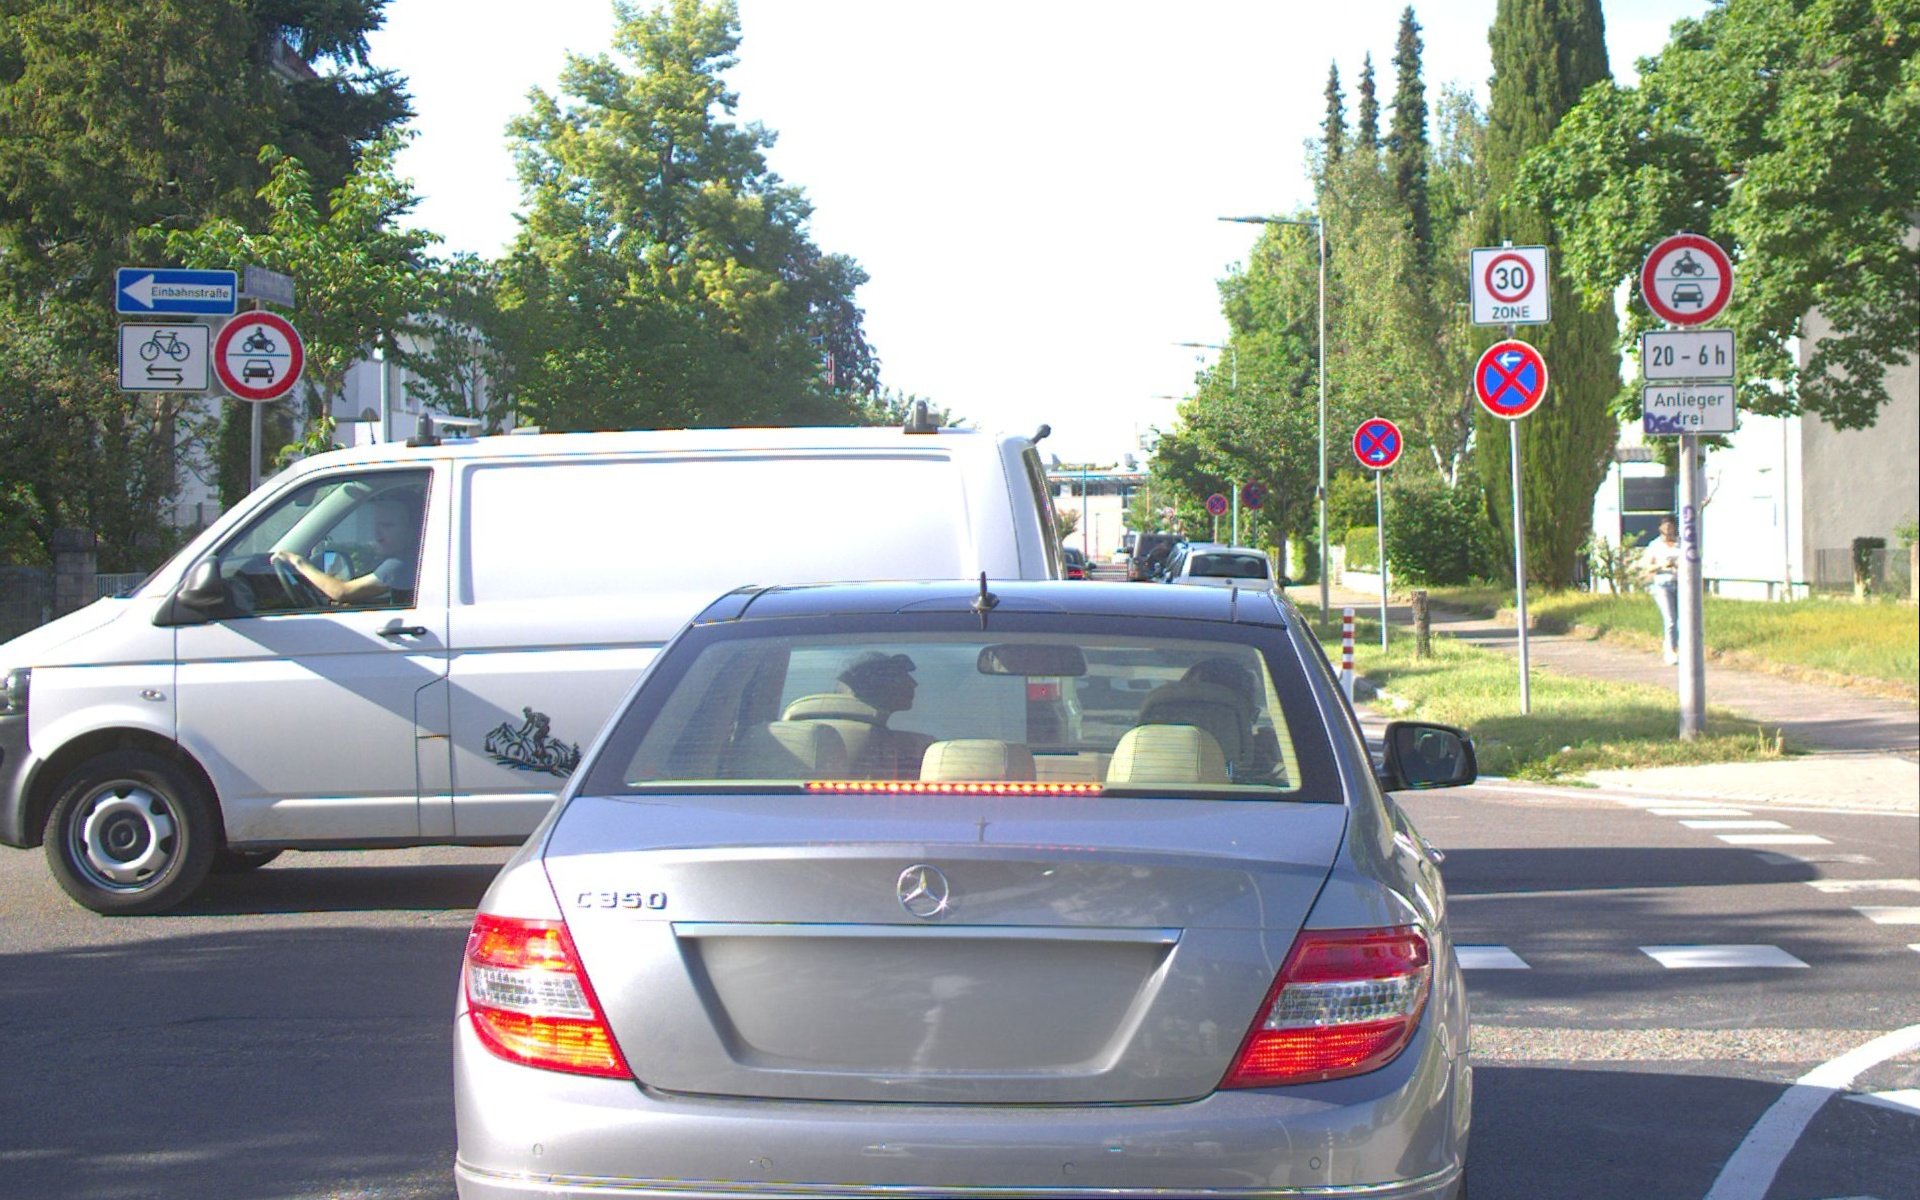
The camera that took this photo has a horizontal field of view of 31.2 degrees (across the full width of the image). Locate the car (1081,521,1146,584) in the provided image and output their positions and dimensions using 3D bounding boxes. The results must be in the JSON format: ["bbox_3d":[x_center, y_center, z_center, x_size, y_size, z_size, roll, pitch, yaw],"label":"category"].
[{"bbox_3d":[4.602,-1.448,103.266,1.855,1.835,4.000,-1,1,2],"label":"car"}]

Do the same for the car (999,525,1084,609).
[{"bbox_3d":[1.618,-0.683,69.121,1.597,1.604,3.644,-1,1,0],"label":"car"}]

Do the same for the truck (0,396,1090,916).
[{"bbox_3d":[-1.885,0.213,14.842,4.858,2.029,2.000,-1,1,2],"label":"truck"}]

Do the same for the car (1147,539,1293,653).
[{"bbox_3d":[3.560,-0.087,47.589,1.733,1.474,3.725,-1,1,0],"label":"car"}]

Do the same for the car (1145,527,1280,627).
[{"bbox_3d":[4.248,-0.424,58.306,1.993,1.604,4.000,-1,1,0],"label":"car"}]

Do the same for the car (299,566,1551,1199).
[{"bbox_3d":[0.053,0.664,7.035,1.836,1.436,4.000,0,1,3],"label":"car"}]

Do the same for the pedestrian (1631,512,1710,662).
[{"bbox_3d":[7.753,-0.145,37.537,0.766,1.605,0.834,-1,1,7],"label":"pedestrian"}]
